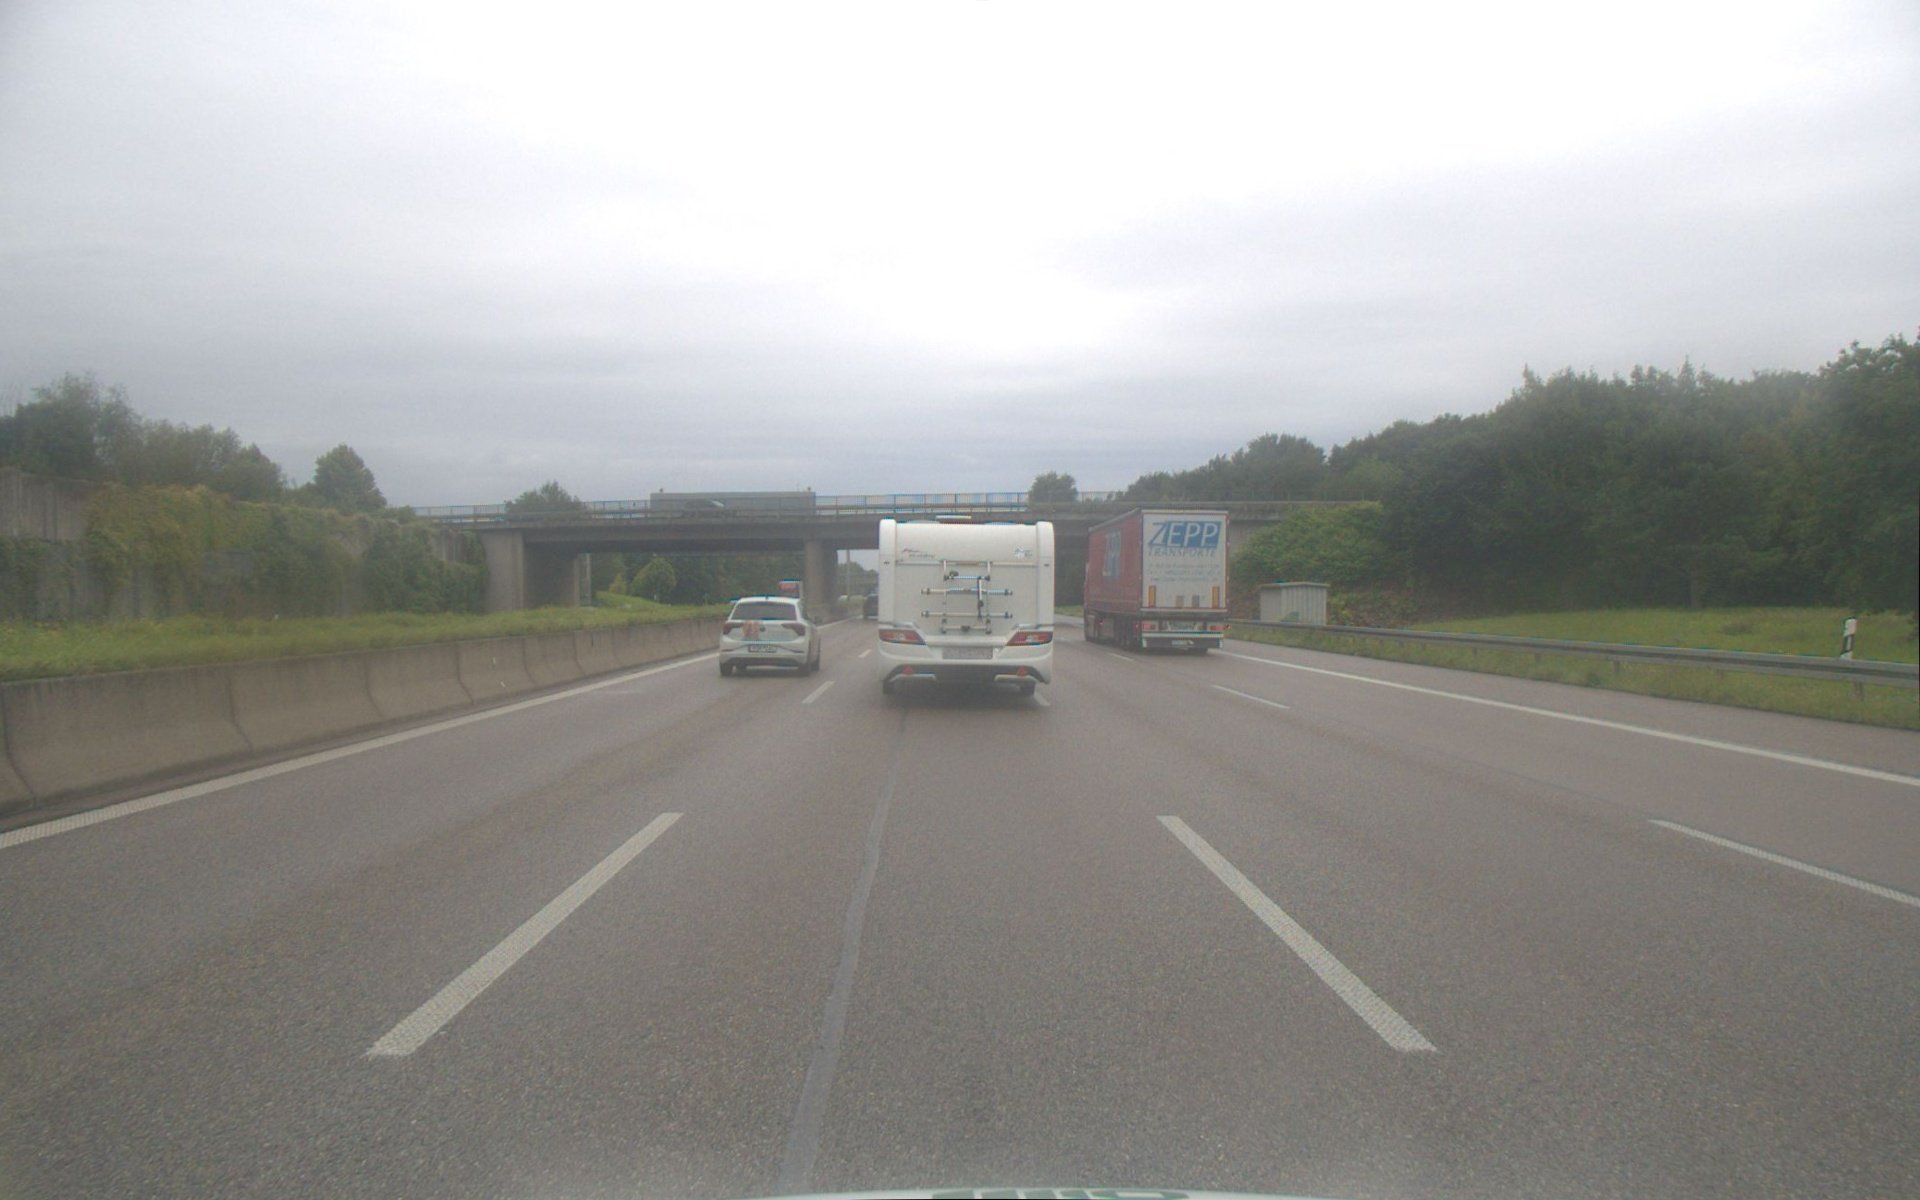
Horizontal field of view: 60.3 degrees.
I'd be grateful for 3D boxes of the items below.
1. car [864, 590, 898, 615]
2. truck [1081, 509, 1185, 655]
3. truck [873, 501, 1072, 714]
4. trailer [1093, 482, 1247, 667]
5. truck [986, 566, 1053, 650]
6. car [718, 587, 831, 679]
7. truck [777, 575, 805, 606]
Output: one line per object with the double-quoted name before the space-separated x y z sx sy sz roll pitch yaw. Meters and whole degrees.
"car" -5.232 0.176 110.127 1.952 1.628 5.123 1 0 1
"truck" 6.130 -0.597 59.334 2.986 4.924 5.849 1 0 -1
"truck" 0.113 0.111 24.624 2.607 2.790 5.076 1 0 -1
"trailer" 6.247 -0.676 51.362 3.037 5.008 11.787 1 0 -1
"truck" 2.042 0.282 58.421 2.011 2.818 5.547 1 0 -1
"car" -3.510 0.576 31.978 1.717 1.646 4.663 0 0 -1
"truck" -22.101 -1.251 216.557 2.638 3.919 10.109 -1 0 -1
